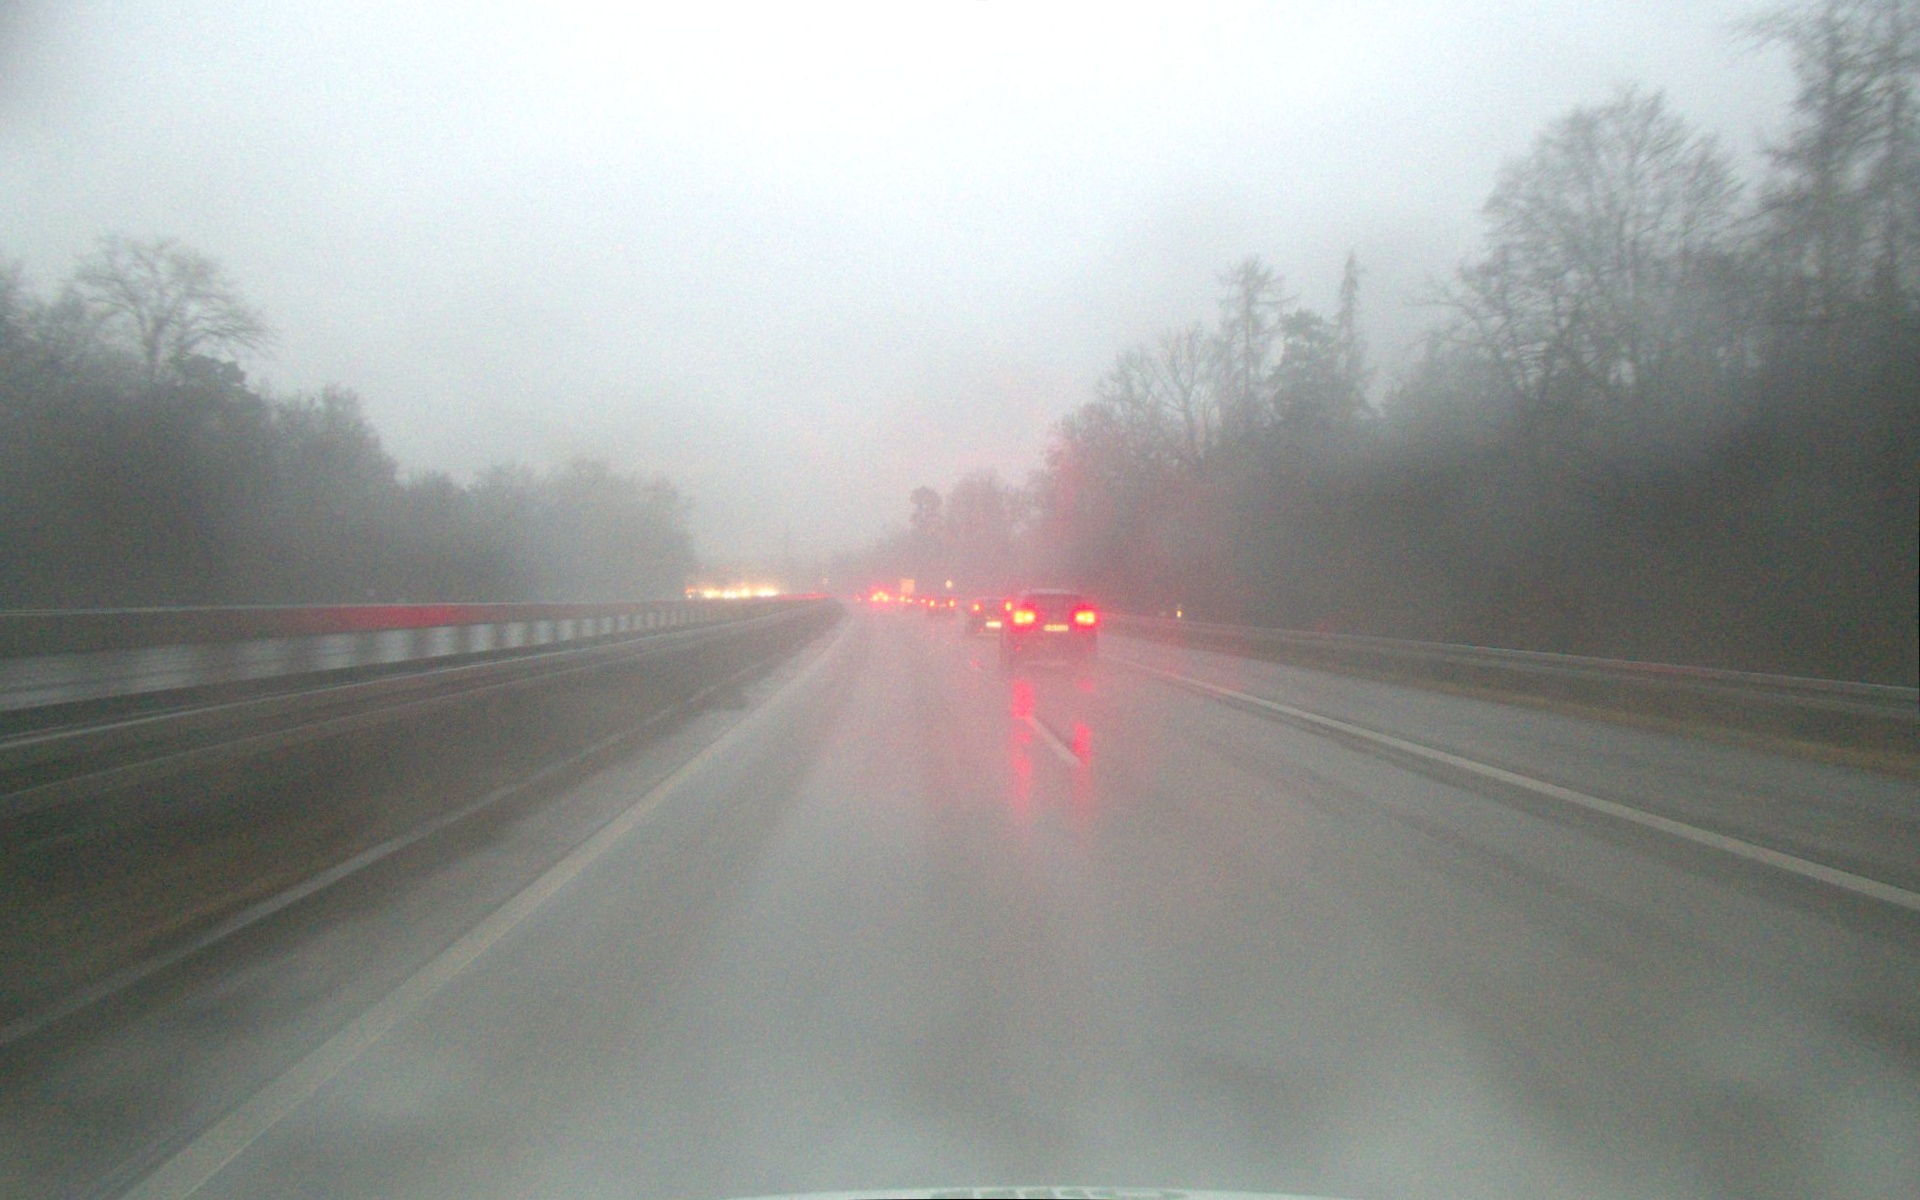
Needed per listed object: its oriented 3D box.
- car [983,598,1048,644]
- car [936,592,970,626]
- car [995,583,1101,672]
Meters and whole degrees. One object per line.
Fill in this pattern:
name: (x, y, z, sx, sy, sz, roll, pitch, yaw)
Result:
car: (1.860, 0.705, 57.038, 1.953, 1.445, 3.999, 3, -1, -2)
car: (-0.444, 0.564, 101.723, 1.953, 2.049, 3.998, 1, 0, -2)
car: (1.806, 0.554, 34.950, 1.951, 1.745, 3.829, 1, 0, -1)
